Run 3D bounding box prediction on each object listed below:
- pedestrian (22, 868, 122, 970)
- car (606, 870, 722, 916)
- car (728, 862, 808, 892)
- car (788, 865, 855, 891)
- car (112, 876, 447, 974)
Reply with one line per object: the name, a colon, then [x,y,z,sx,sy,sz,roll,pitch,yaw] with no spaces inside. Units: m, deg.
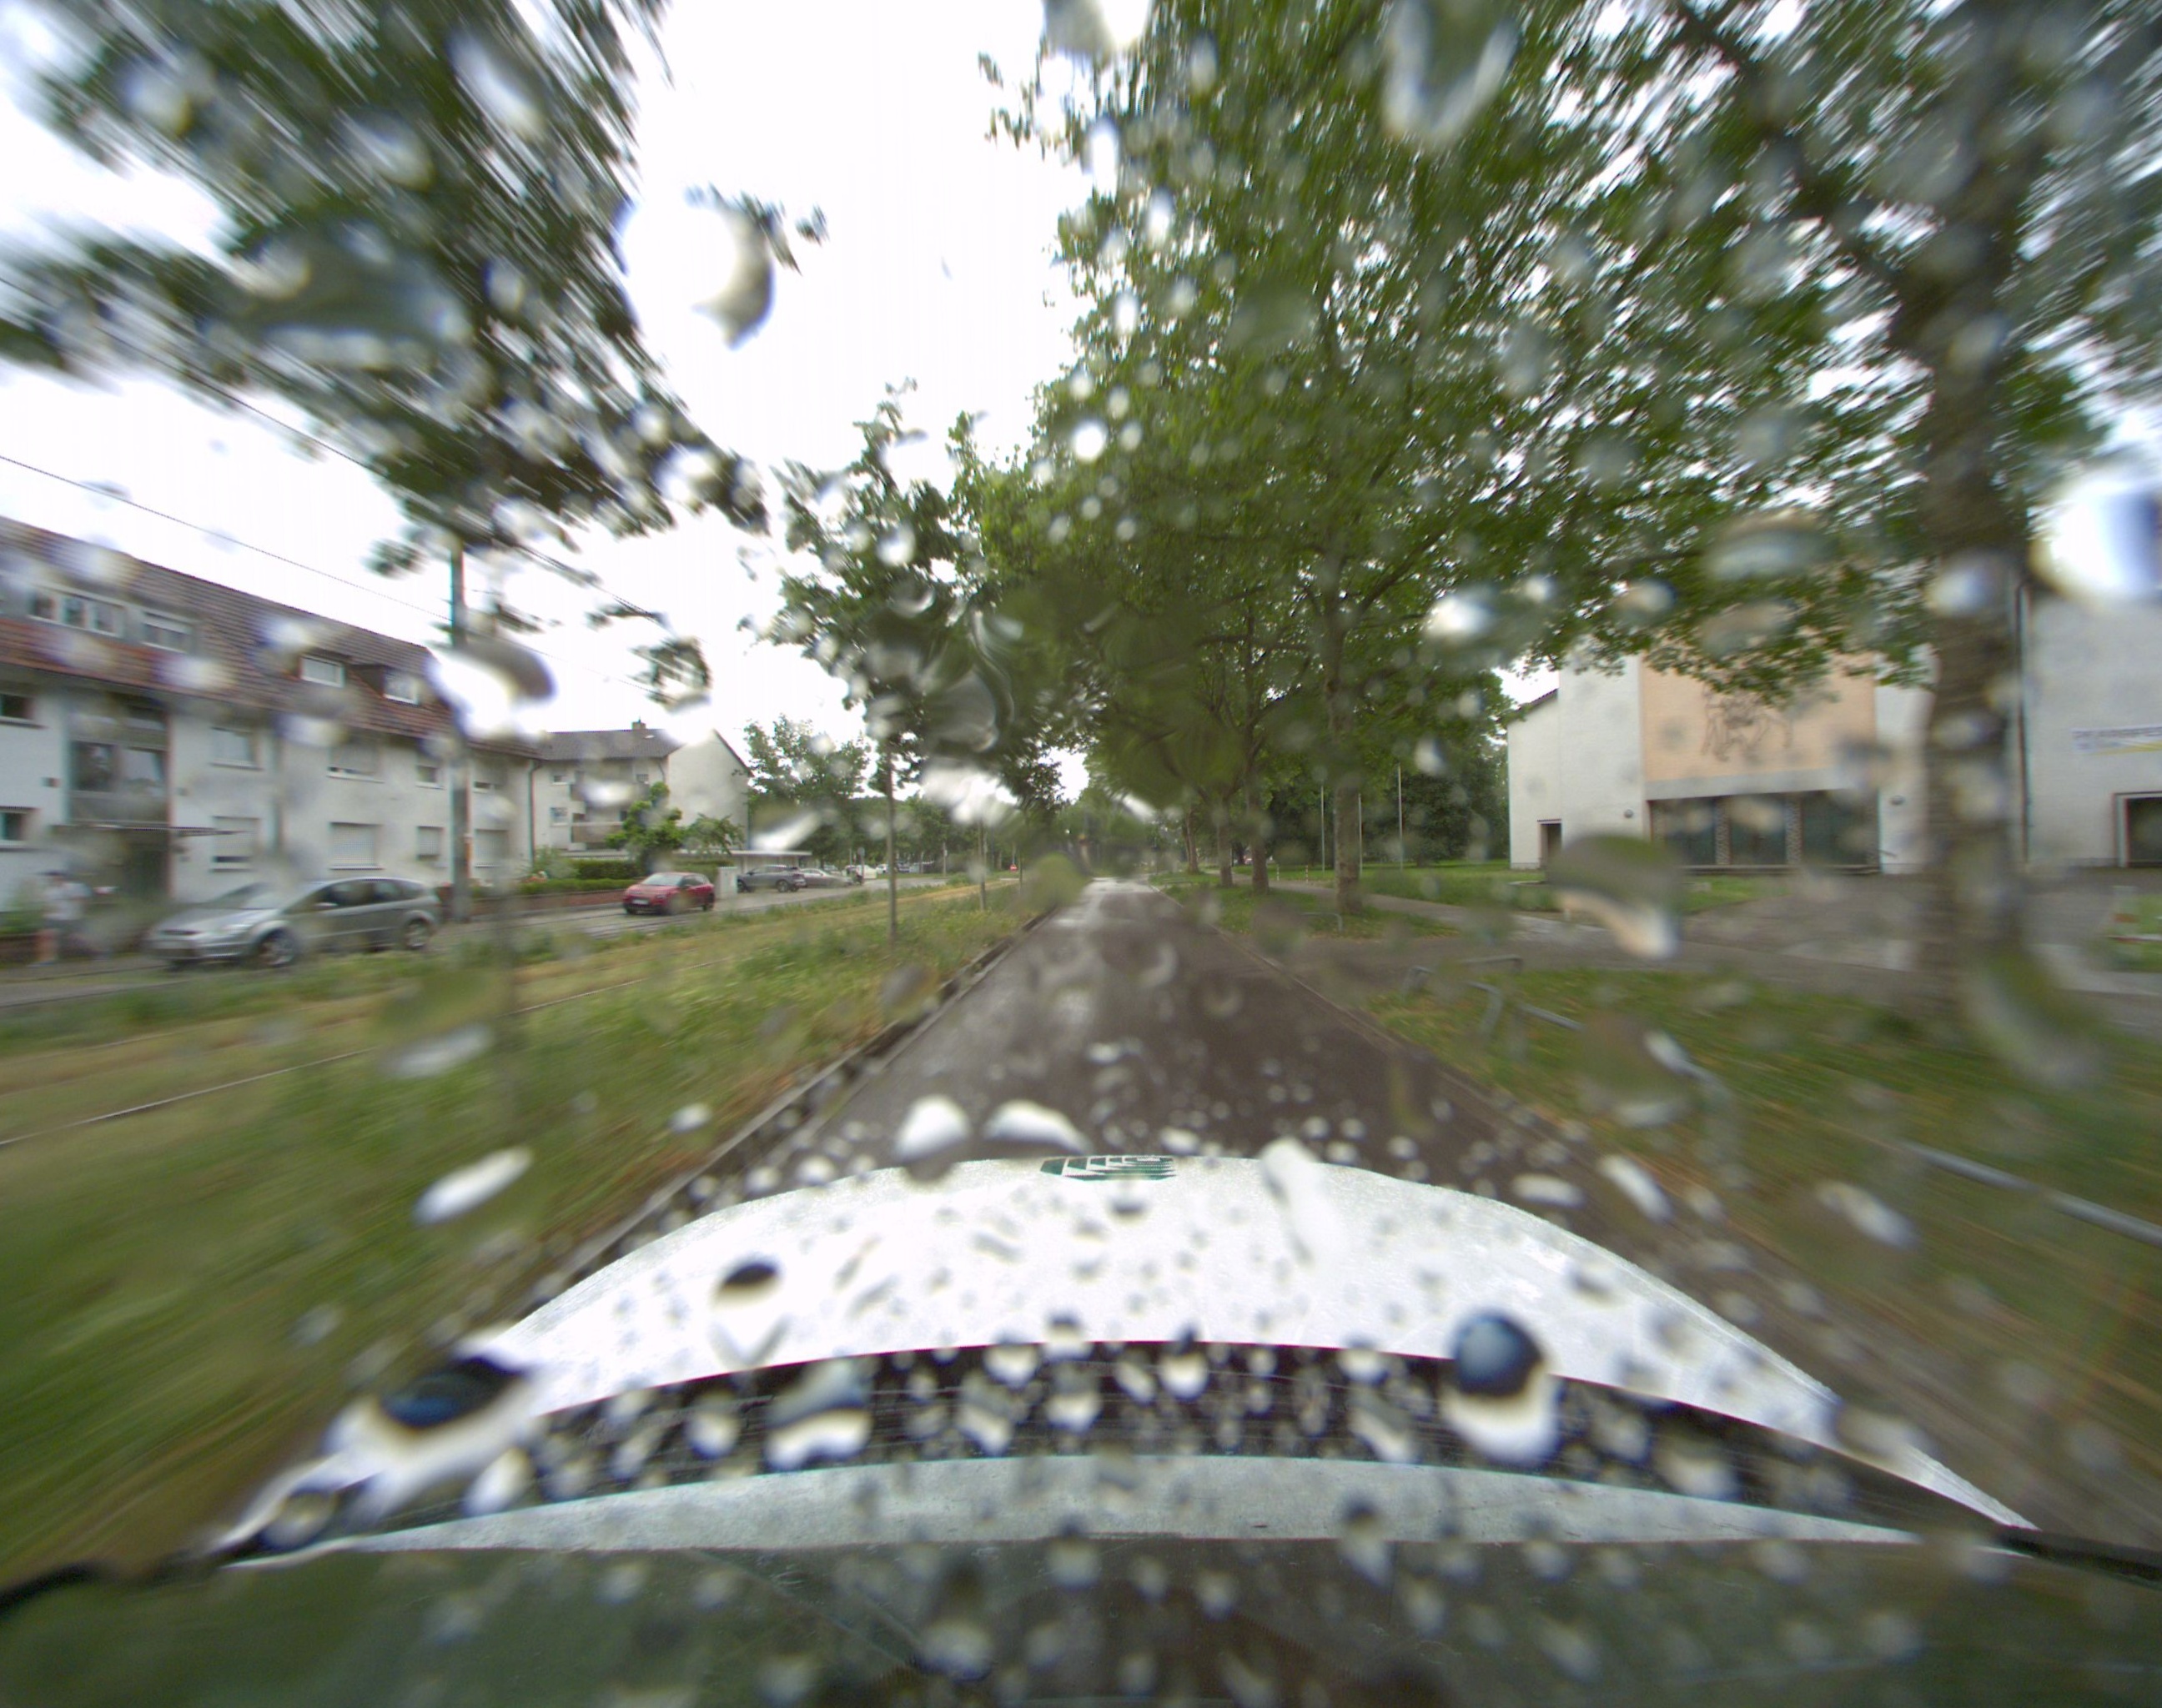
pedestrian: [-18.170,1.146,14.684,0.699,1.755,0.855,-2,-1,2]
car: [-15.199,1.379,29.973,1.986,1.488,4.206,1,0,1]
car: [-18.612,1.374,48.548,3.975,1.617,1.999,-2,0,-1]
car: [-18.017,1.637,56.765,3.975,1.617,1.999,-2,0,-1]
car: [-15.507,1.278,16.217,1.985,1.581,4.520,1,-1,3]
